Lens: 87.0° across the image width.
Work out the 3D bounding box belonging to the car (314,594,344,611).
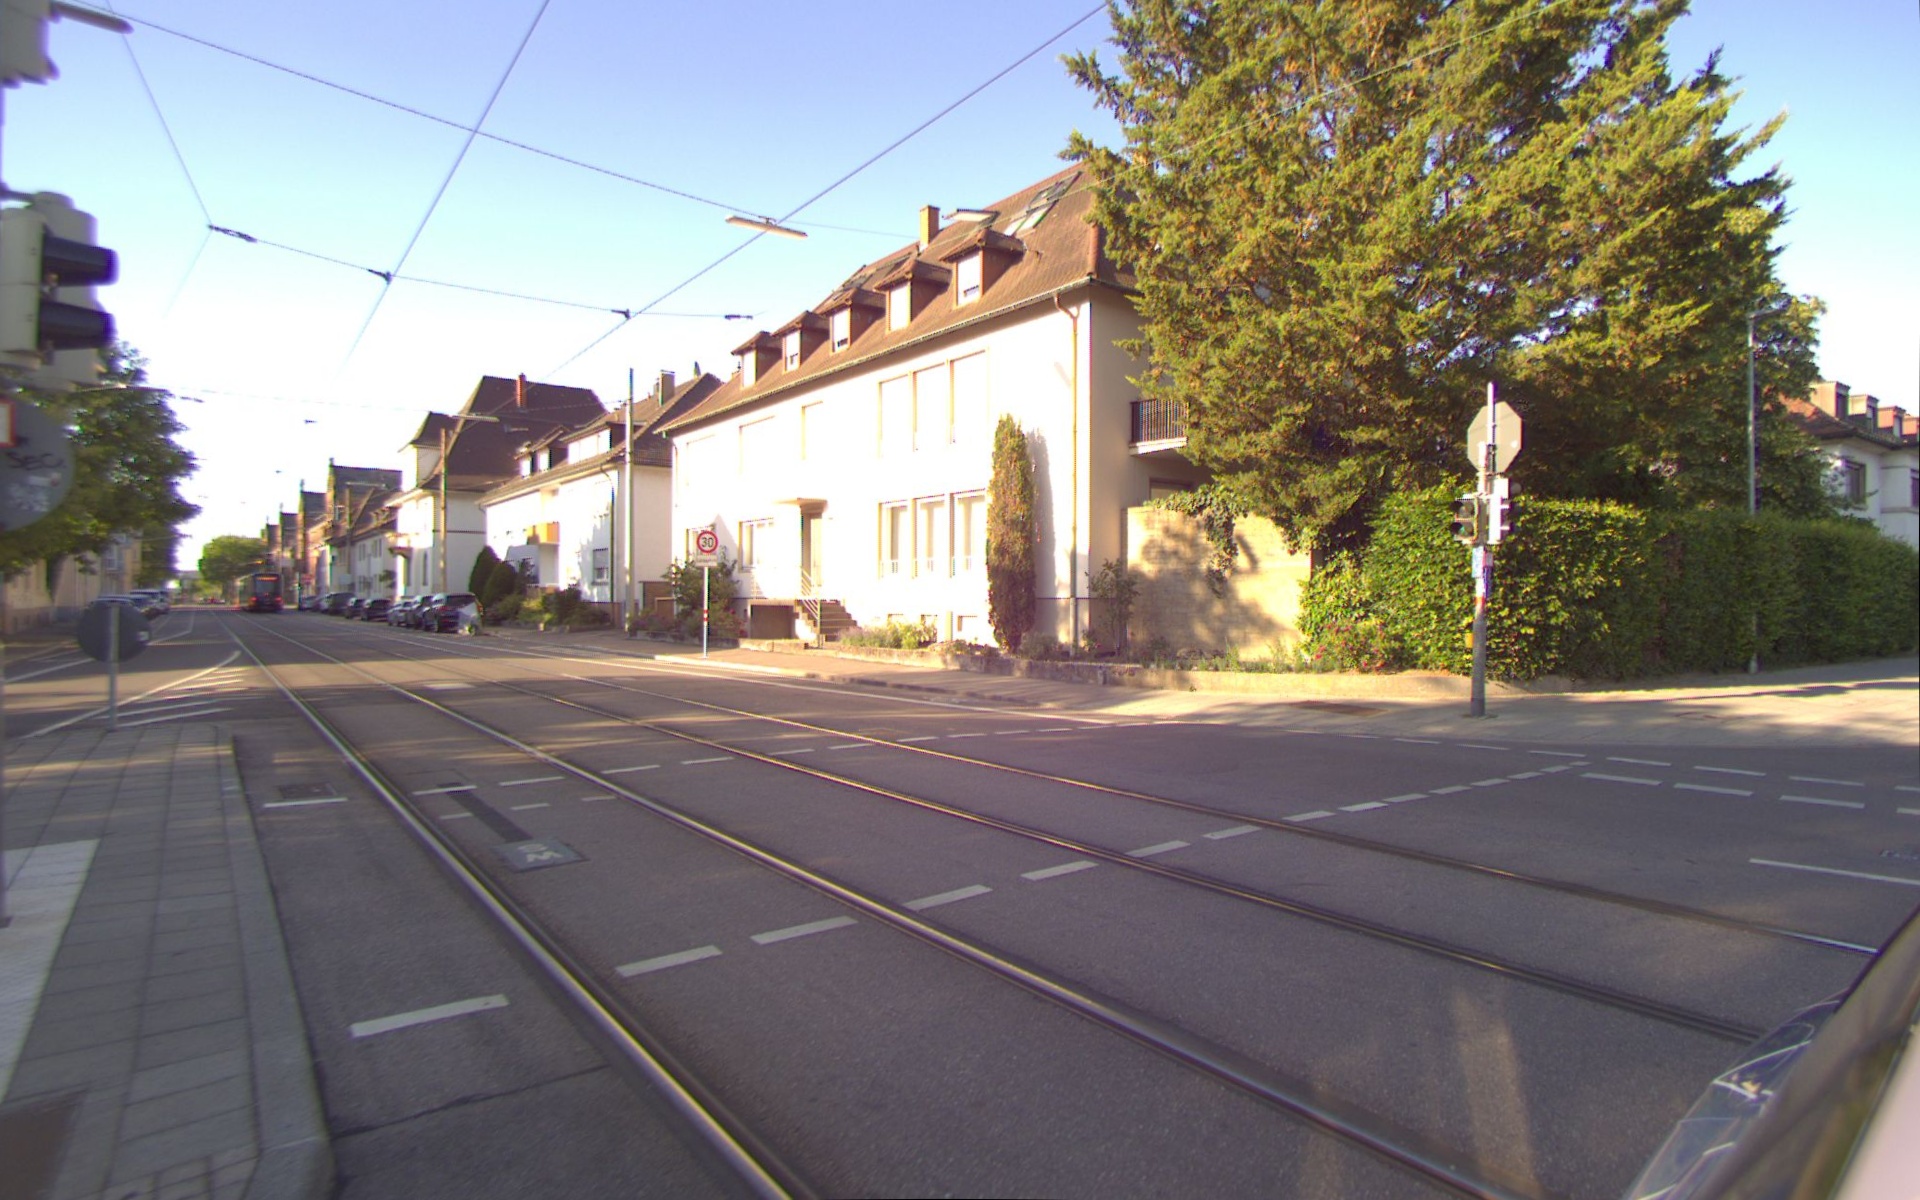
[{"bbox_3d":[-54.542,0.178,87.421,1.963,1.460,3.999,-1,0,-36],"label":"car"}]

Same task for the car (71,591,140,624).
[{"bbox_3d":[-36.632,0.296,43.462,1.963,1.326,3.999,-1,0,-36],"label":"car"}]

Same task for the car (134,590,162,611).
[{"bbox_3d":[-67.178,0.063,83.751,1.808,1.555,3.872,-1,-1,-38],"label":"car"}]

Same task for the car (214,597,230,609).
[{"bbox_3d":[-108.946,0.443,149.327,1.591,1.641,3.716,-1,3,-41],"label":"car"}]

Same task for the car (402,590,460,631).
[{"bbox_3d":[-26.293,0.482,50.226,1.962,1.905,3.999,1,0,-36],"label":"car"}]

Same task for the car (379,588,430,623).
[{"bbox_3d":[-30.490,0.276,55.502,1.963,1.792,3.999,0,0,-36],"label":"car"}]

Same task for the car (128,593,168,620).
[{"bbox_3d":[-53.876,0.449,67.150,1.964,1.636,3.994,-1,-1,-39],"label":"car"}]

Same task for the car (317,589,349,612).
[{"bbox_3d":[-51.344,0.037,82.838,1.963,1.794,3.999,0,0,-36],"label":"car"}]

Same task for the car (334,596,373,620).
[{"bbox_3d":[-42.440,0.588,70.782,1.963,1.483,3.997,-1,-2,-36],"label":"car"}]

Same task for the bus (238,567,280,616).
[{"bbox_3d":[-63.300,-0.679,91.286,2.813,3.875,13.316,-1,-1,-36],"label":"bus"}]

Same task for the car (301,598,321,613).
[{"bbox_3d":[-66.207,0.567,103.234,1.454,1.467,3.438,-1,-1,-36],"label":"car"}]

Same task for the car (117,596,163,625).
[{"bbox_3d":[-48.251,0.571,59.575,1.890,1.616,3.900,0,0,-36],"label":"car"}]

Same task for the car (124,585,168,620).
[{"bbox_3d":[-50.908,0.183,63.348,1.963,2.039,3.997,-1,-1,-36],"label":"car"}]

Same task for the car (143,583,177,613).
[{"bbox_3d":[-59.767,-0.146,75.607,1.964,2.039,3.994,-1,-1,-39],"label":"car"}]

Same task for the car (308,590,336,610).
[{"bbox_3d":[-60.583,-0.031,96.138,1.963,1.750,3.997,-1,-1,-36],"label":"car"}]

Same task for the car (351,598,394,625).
[{"bbox_3d":[-38.256,0.740,65.861,1.963,1.648,3.998,-1,0,-36],"label":"car"}]

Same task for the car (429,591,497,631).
[{"bbox_3d":[-21.125,0.419,42.937,1.963,1.616,3.999,0,0,-36],"label":"car"}]

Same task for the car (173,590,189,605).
[{"bbox_3d":[-86.853,-0.307,112.809,1.419,1.526,3.264,-1,-1,-38],"label":"car"}]
